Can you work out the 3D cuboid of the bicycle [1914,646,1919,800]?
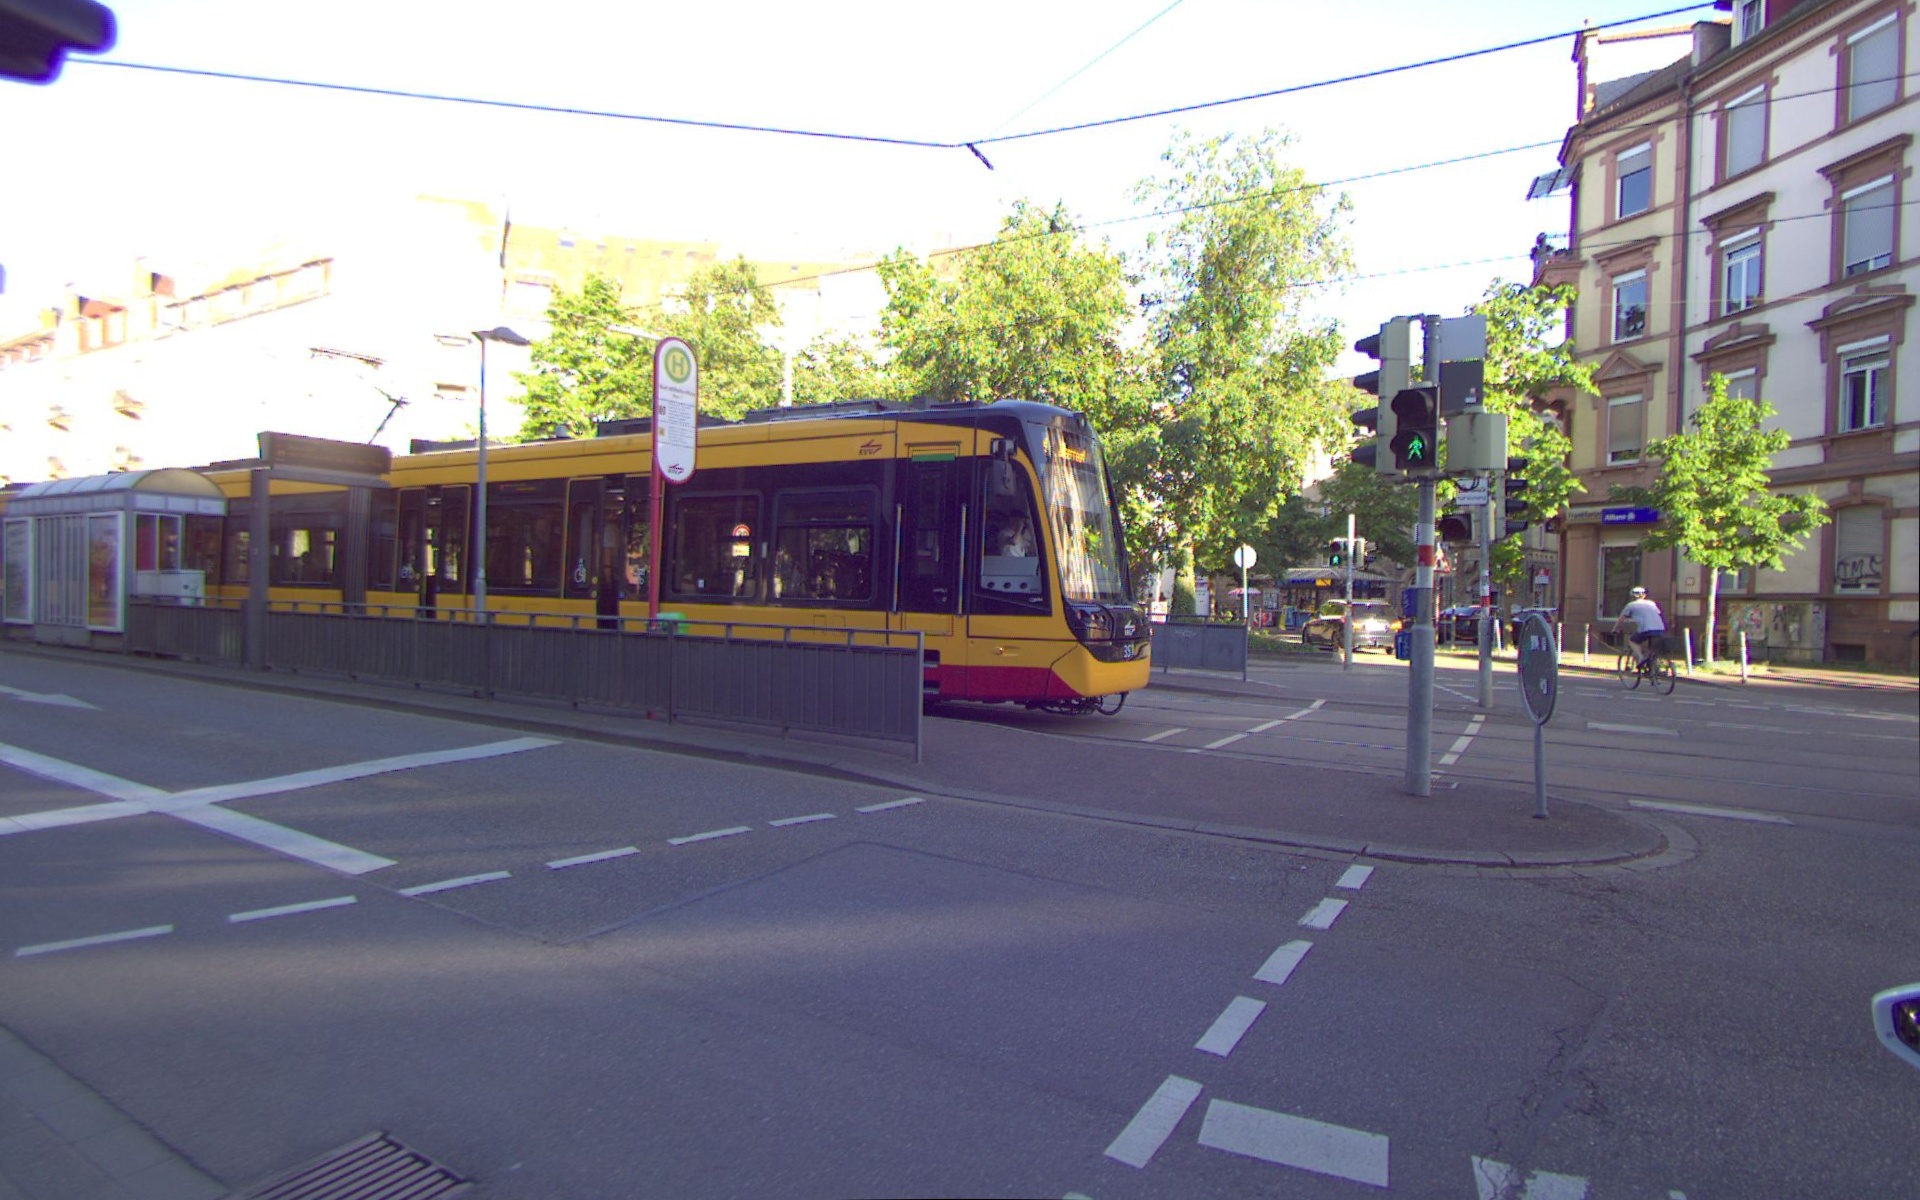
[{"bbox_3d":[7.290,0.934,7.081,0.709,1.122,1.956,2,1,41],"label":"bicycle"}]

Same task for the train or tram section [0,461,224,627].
[{"bbox_3d":[-23.732,-1.395,26.242,12.459,3.605,2.767,2,1,32],"label":"train or tram section"}]

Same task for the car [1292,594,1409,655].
[{"bbox_3d":[11.463,0.671,29.767,1.761,1.562,3.858,3,1,-2],"label":"car"}]

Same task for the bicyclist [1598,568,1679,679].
[{"bbox_3d":[12.224,0.410,18.124,0.781,1.939,0.945,1,1,1],"label":"bicyclist"}]

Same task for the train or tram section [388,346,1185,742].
[{"bbox_3d":[-3.082,-0.678,13.544,11.593,3.668,2.794,2,1,32],"label":"train or tram section"}]

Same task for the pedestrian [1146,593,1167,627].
[{"bbox_3d":[10.649,0.533,54.459,0.710,1.773,0.874,1,1,-37],"label":"pedestrian"}]

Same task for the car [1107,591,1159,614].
[{"bbox_3d":[12.490,0.142,72.658,1.655,1.519,3.537,2,0,-35],"label":"car"}]

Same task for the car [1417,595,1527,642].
[{"bbox_3d":[19.101,0.686,37.415,4.324,1.632,1.780,1,1,-34],"label":"car"}]

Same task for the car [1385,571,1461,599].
[{"bbox_3d":[29.226,-0.988,63.482,1.860,1.669,3.960,1,1,-35],"label":"car"}]

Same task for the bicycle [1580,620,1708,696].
[{"bbox_3d":[12.203,0.993,18.021,0.796,1.200,2.227,1,0,2],"label":"bicycle"}]

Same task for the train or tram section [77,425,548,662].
[{"bbox_3d":[-13.222,-1.034,19.774,12.202,3.635,2.780,2,1,32],"label":"train or tram section"}]

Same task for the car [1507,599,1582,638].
[{"bbox_3d":[23.562,0.740,40.457,3.178,1.477,1.489,1,1,-37],"label":"car"}]
